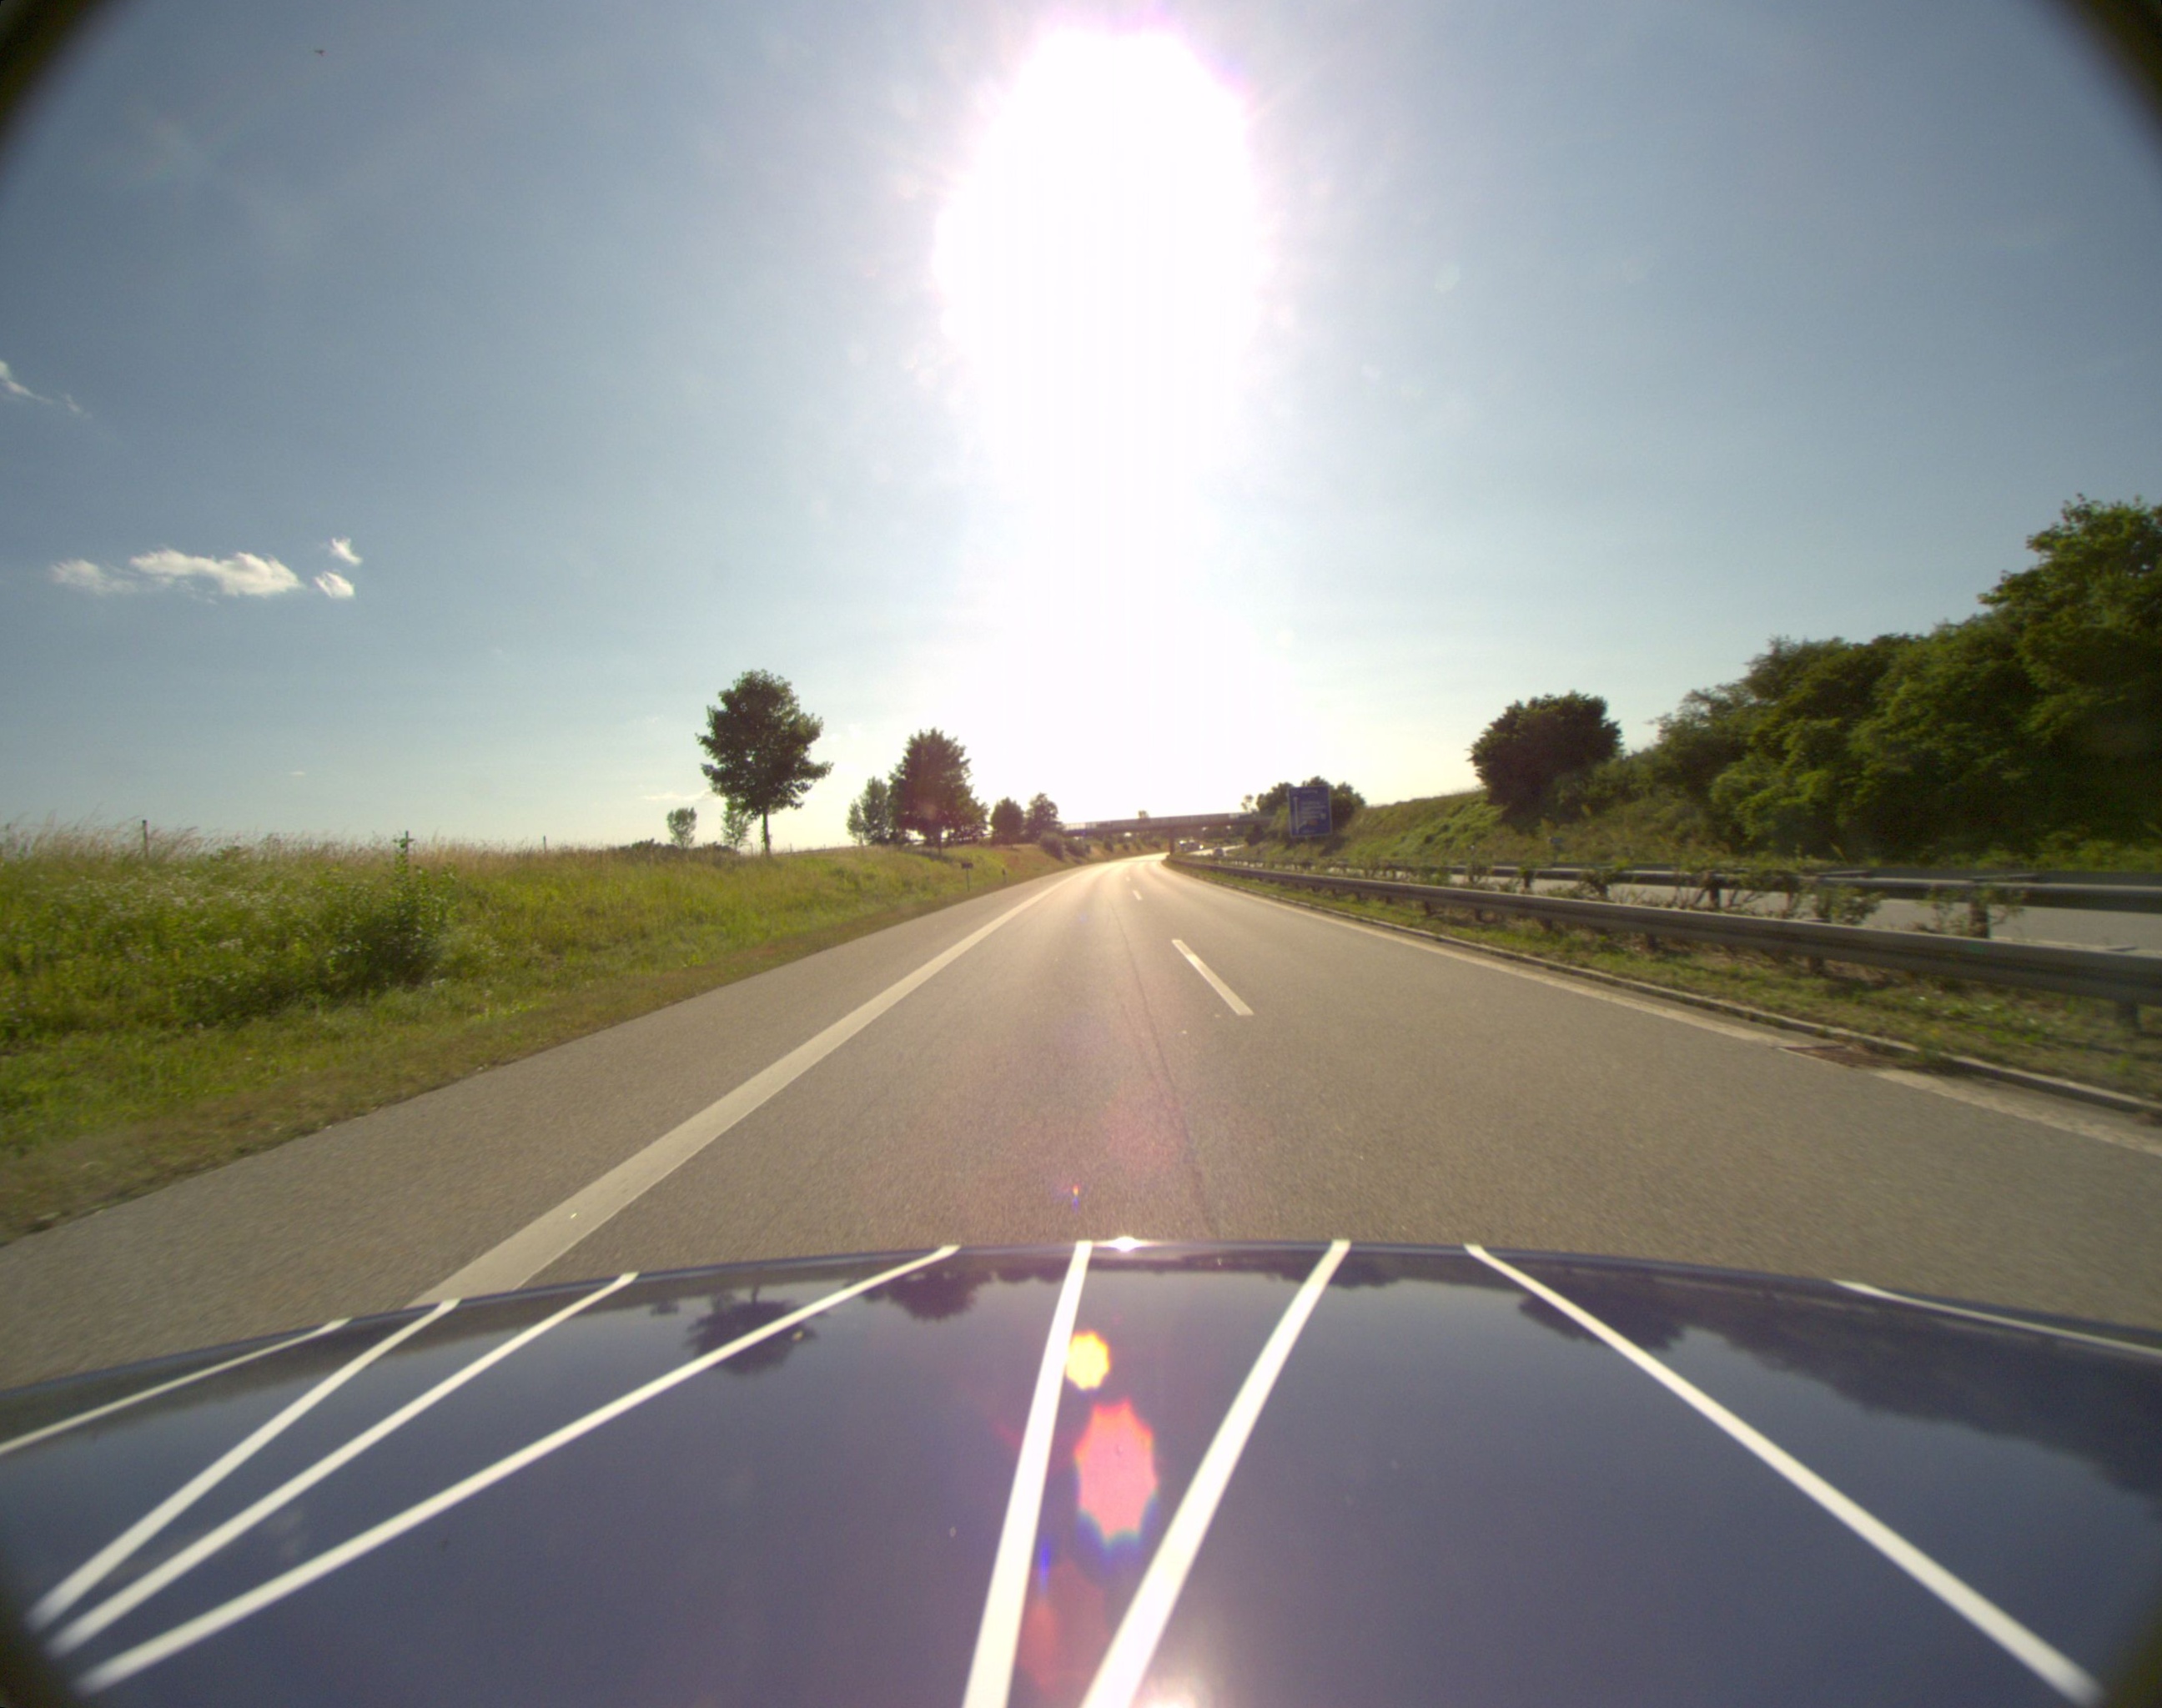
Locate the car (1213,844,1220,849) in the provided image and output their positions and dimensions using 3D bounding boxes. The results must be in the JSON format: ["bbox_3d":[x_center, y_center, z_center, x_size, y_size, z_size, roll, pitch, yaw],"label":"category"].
[{"bbox_3d":[44.735,-2.497,251.312,1.860,1.846,4.624,-2,1,7],"label":"car"}]

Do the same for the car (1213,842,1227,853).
[{"bbox_3d":[22.190,-1.008,121.314,1.860,1.589,4.001,-2,1,5],"label":"car"}]
